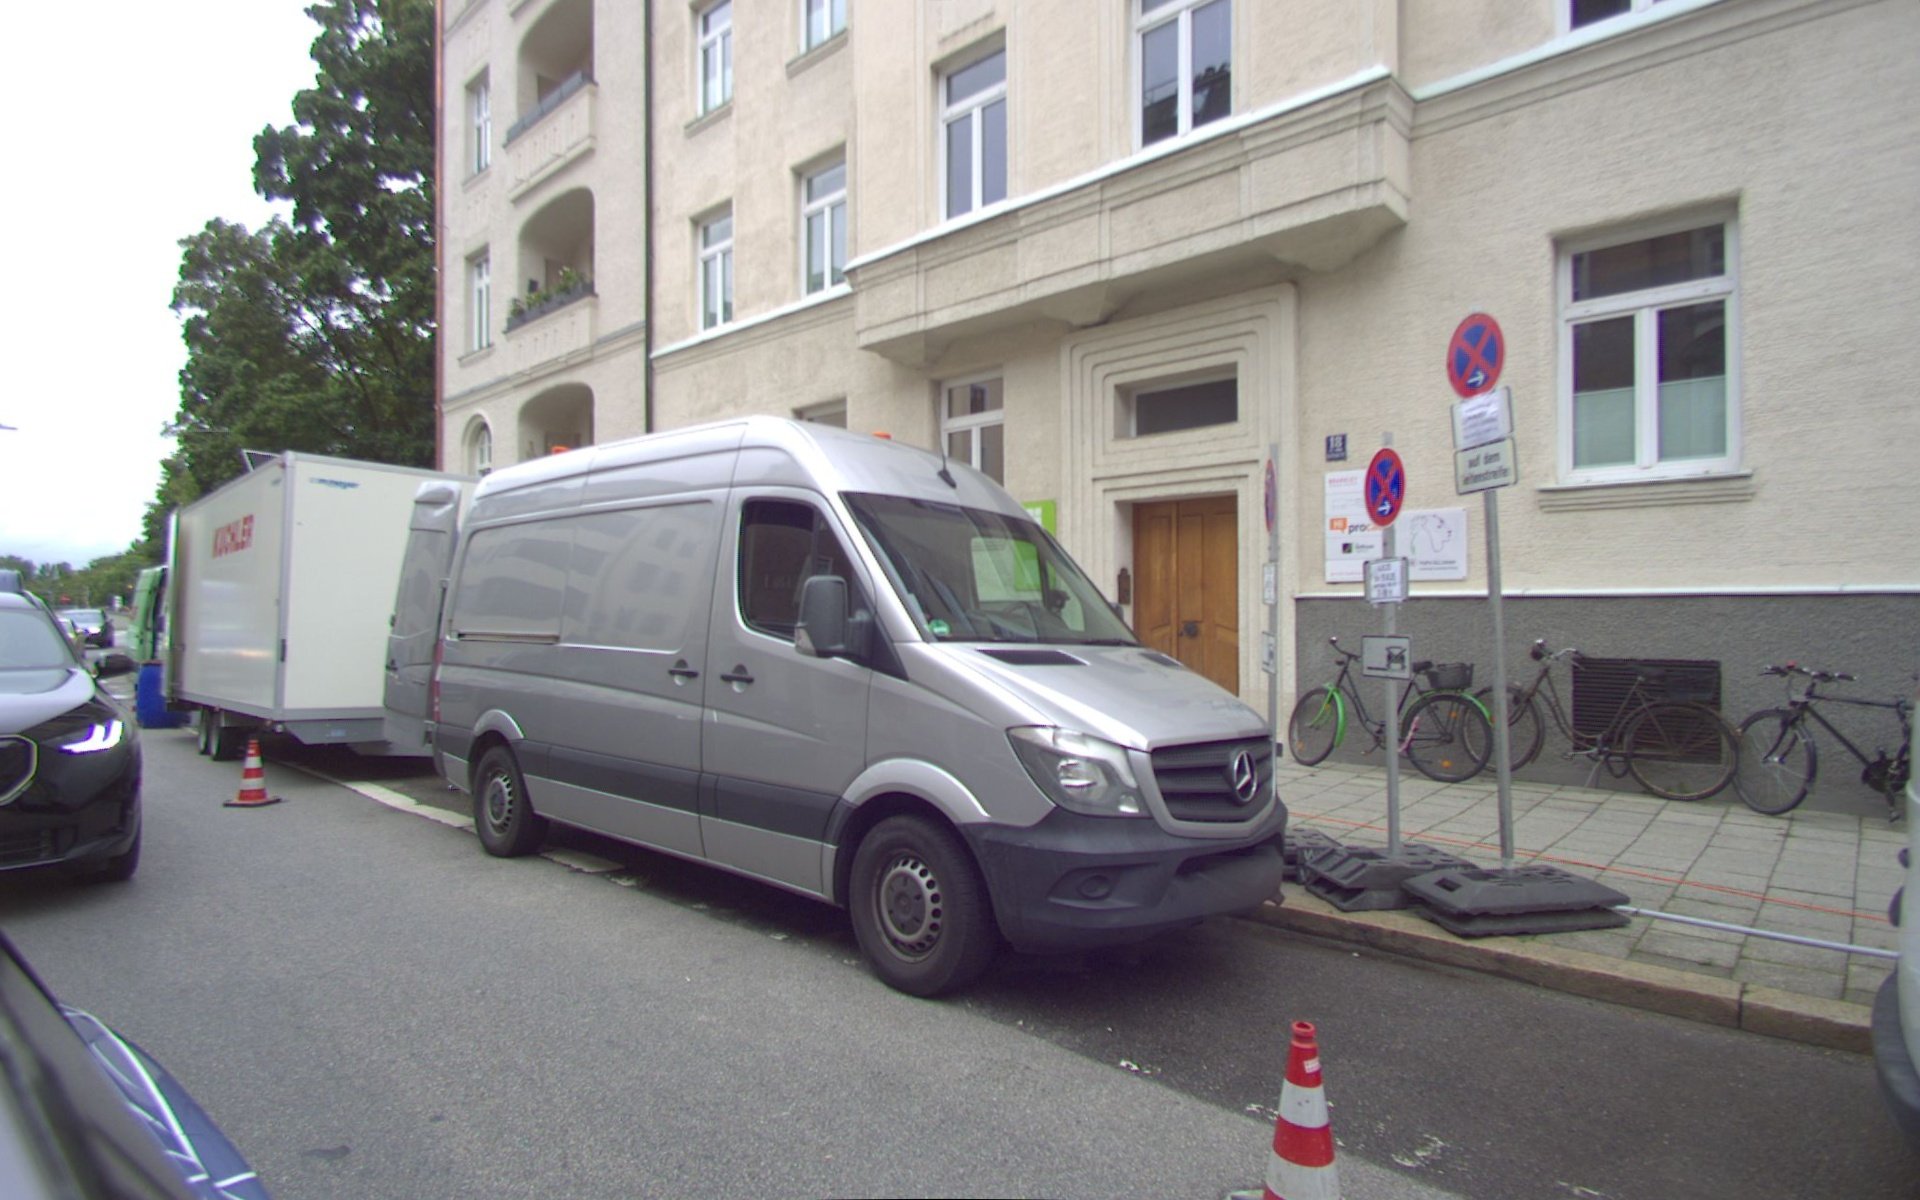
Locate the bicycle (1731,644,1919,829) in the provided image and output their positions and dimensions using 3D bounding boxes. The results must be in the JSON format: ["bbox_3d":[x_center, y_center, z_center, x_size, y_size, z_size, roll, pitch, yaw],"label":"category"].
[{"bbox_3d":[6.057,0.859,6.389,1.864,1.112,0.396,-1,-1,42],"label":"bicycle"}]

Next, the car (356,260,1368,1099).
[{"bbox_3d":[-1.342,0.351,6.234,6.875,2.607,2.034,-1,-6,42],"label":"car"}]

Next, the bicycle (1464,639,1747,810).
[{"bbox_3d":[4.765,0.866,7.568,1.736,1.112,0.423,-1,-1,43],"label":"bicycle"}]

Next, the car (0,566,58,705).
[{"bbox_3d":[-19.881,0.637,20.336,1.974,2.510,6.247,0,0,-36],"label":"car"}]

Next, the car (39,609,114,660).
[{"bbox_3d":[-31.375,1.207,35.971,1.791,1.601,4.170,7,-5,-41],"label":"car"}]

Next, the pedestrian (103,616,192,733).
[{"bbox_3d":[-11.489,1.028,14.325,0.633,1.592,0.757,0,-2,25],"label":"pedestrian"}]

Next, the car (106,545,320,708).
[{"bbox_3d":[-14.396,0.488,19.278,6.795,2.592,2.117,-1,-1,43],"label":"car"}]

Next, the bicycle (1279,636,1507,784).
[{"bbox_3d":[3.628,0.879,8.602,1.743,1.112,0.423,-1,-1,43],"label":"bicycle"}]

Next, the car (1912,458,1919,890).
[{"bbox_3d":[4.084,0.611,1.160,4.327,1.792,1.743,-1,-3,44],"label":"car"}]

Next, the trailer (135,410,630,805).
[{"bbox_3d":[-6.855,0.239,11.323,7.603,2.992,2.771,-2,-5,45],"label":"trailer"}]

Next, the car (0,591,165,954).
[{"bbox_3d":[-5.901,0.750,5.717,1.893,1.577,4.299,2,-1,-42],"label":"car"}]

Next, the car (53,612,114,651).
[{"bbox_3d":[-37.626,1.331,43.420,1.791,1.474,4.169,7,-5,-41],"label":"car"}]
